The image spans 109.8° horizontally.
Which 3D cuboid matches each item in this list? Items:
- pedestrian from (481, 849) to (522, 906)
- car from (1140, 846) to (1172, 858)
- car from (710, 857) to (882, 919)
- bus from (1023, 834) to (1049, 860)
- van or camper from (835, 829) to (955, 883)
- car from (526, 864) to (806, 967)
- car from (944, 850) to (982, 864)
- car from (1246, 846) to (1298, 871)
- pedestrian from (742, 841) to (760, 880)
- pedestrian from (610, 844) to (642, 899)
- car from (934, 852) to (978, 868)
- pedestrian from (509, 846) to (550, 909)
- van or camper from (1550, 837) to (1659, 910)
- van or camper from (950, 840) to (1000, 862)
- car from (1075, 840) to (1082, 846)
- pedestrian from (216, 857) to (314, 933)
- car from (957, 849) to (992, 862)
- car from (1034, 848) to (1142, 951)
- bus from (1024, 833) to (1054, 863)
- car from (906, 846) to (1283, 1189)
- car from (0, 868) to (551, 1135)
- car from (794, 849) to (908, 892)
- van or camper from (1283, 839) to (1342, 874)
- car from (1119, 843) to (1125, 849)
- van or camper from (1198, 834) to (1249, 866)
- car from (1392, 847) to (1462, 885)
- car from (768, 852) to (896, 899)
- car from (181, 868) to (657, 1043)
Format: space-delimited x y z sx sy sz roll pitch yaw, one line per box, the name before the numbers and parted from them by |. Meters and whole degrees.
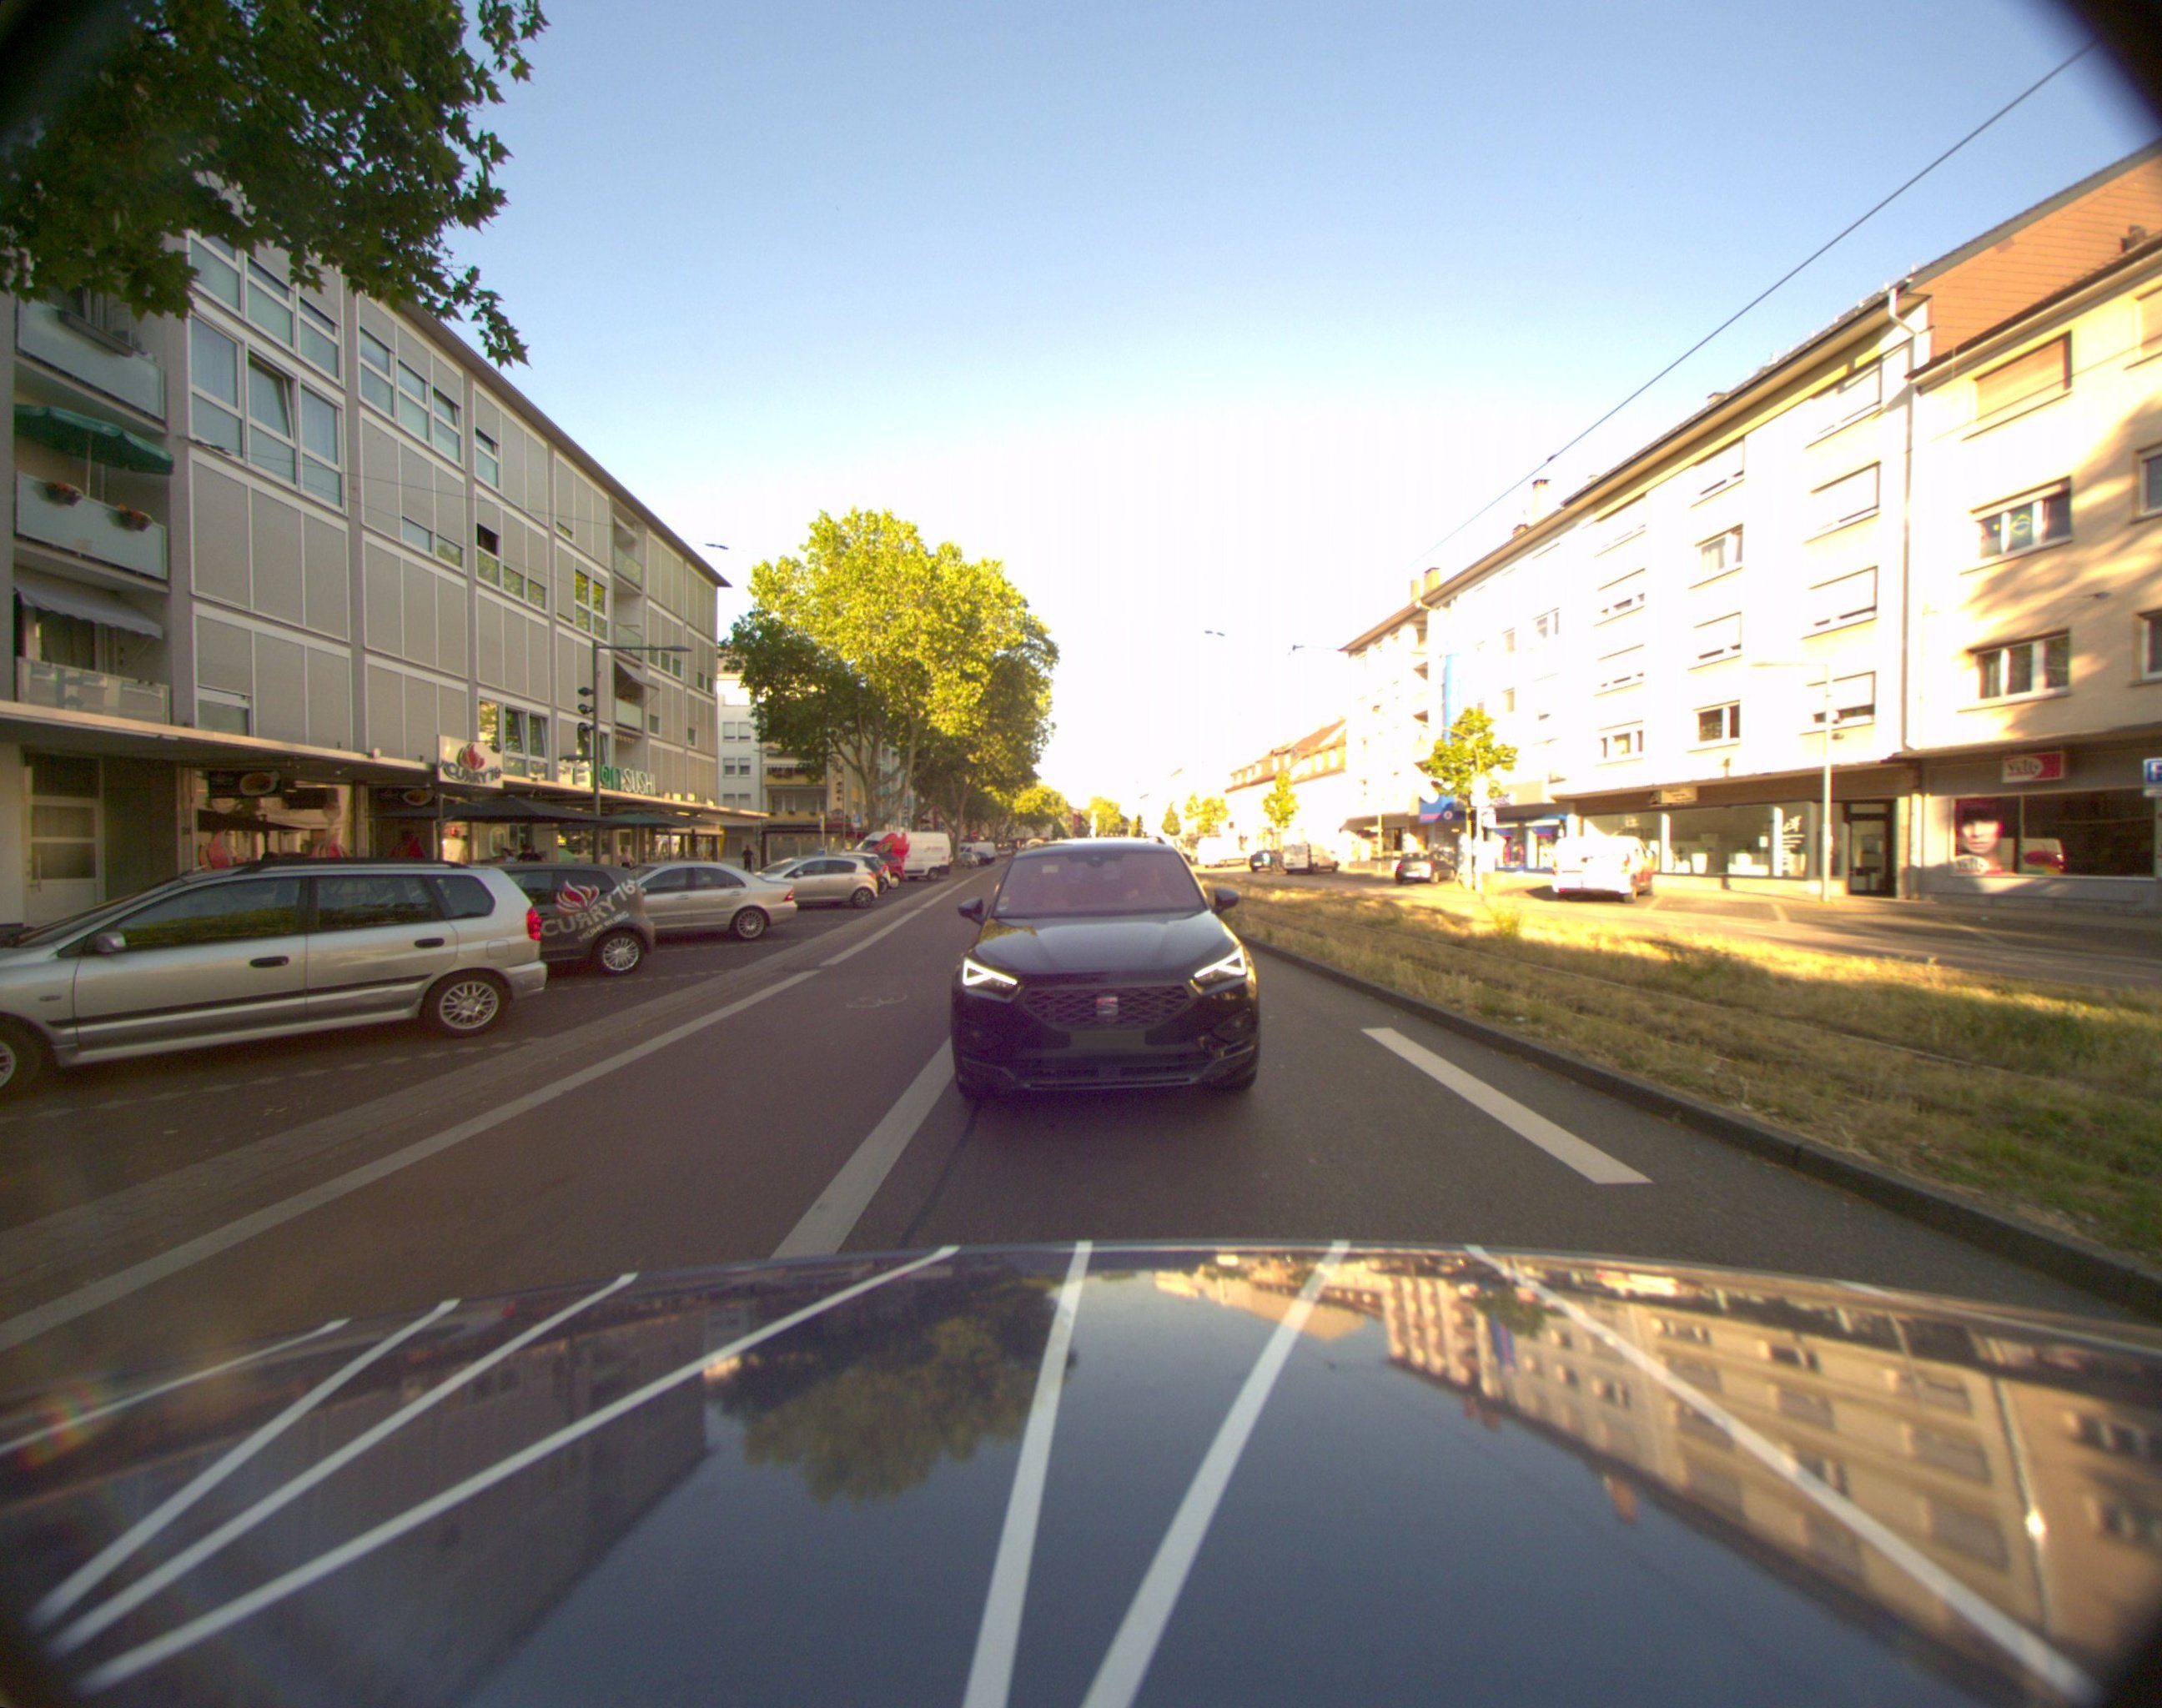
pedestrian | -14.772 0.588 19.378 0.538 1.392 0.686 2 1 -5
car | 10.176 -0.267 103.179 3.921 1.482 1.766 -3 1 -27
car | -7.612 0.834 20.499 4.008 1.428 1.654 0 2 -44
bus | -5.814 -1.024 96.395 2.873 2.962 12.231 -2 2 -4
van or camper | -9.108 0.063 37.601 5.474 2.455 1.994 -1 1 -44
car | -7.127 0.938 13.355 1.654 1.428 4.009 2 2 43
car | -11.472 0.266 74.014 3.337 1.339 1.526 0 2 -44
car | 13.756 0.295 54.641 1.874 1.577 4.008 -1 1 43
pedestrian | -17.267 0.332 39.740 0.551 2.002 0.578 -2 1 20
pedestrian | -13.429 0.511 22.446 0.538 1.582 0.686 2 1 -5
car | -10.547 0.484 64.224 3.337 1.339 1.526 0 2 -44
pedestrian | -14.199 0.586 19.578 0.538 1.582 0.686 2 1 -5
van or camper | 15.833 0.509 22.884 1.946 1.887 4.824 -1 1 43
van or camper | -11.817 -0.355 84.757 1.994 2.455 5.474 1 1 44
car | -0.708 -2.971 203.498 1.740 1.539 3.999 0 1 0
pedestrian | -15.159 0.747 14.149 0.750 1.354 0.962 0 1 0
car | -11.381 0.182 81.266 3.337 1.339 1.526 0 2 -44
car | 0.068 0.684 13.688 1.659 1.572 3.999 0 1 -1
bus | -4.787 -0.736 84.280 2.873 2.962 12.231 -2 2 -4
car | 0.095 0.793 5.760 1.808 1.638 3.999 -2 1 1
car | -6.913 0.964 6.084 1.804 1.597 4.008 1 1 38
car | -9.096 0.621 30.202 4.008 1.555 1.654 0 2 -44
van or camper | 14.590 0.118 47.779 1.795 1.978 4.460 -1 1 41
car | 12.518 -2.331 232.359 1.869 1.832 3.826 0 1 2
van or camper | 12.916 -0.396 68.546 1.994 2.652 6.410 -2 1 34
car | 15.628 0.518 34.214 1.765 1.482 4.460 -1 1 39
car | -8.791 0.705 27.007 4.008 1.514 1.654 0 2 -44
car | -7.575 0.966 9.067 1.804 1.498 4.008 1 1 38
